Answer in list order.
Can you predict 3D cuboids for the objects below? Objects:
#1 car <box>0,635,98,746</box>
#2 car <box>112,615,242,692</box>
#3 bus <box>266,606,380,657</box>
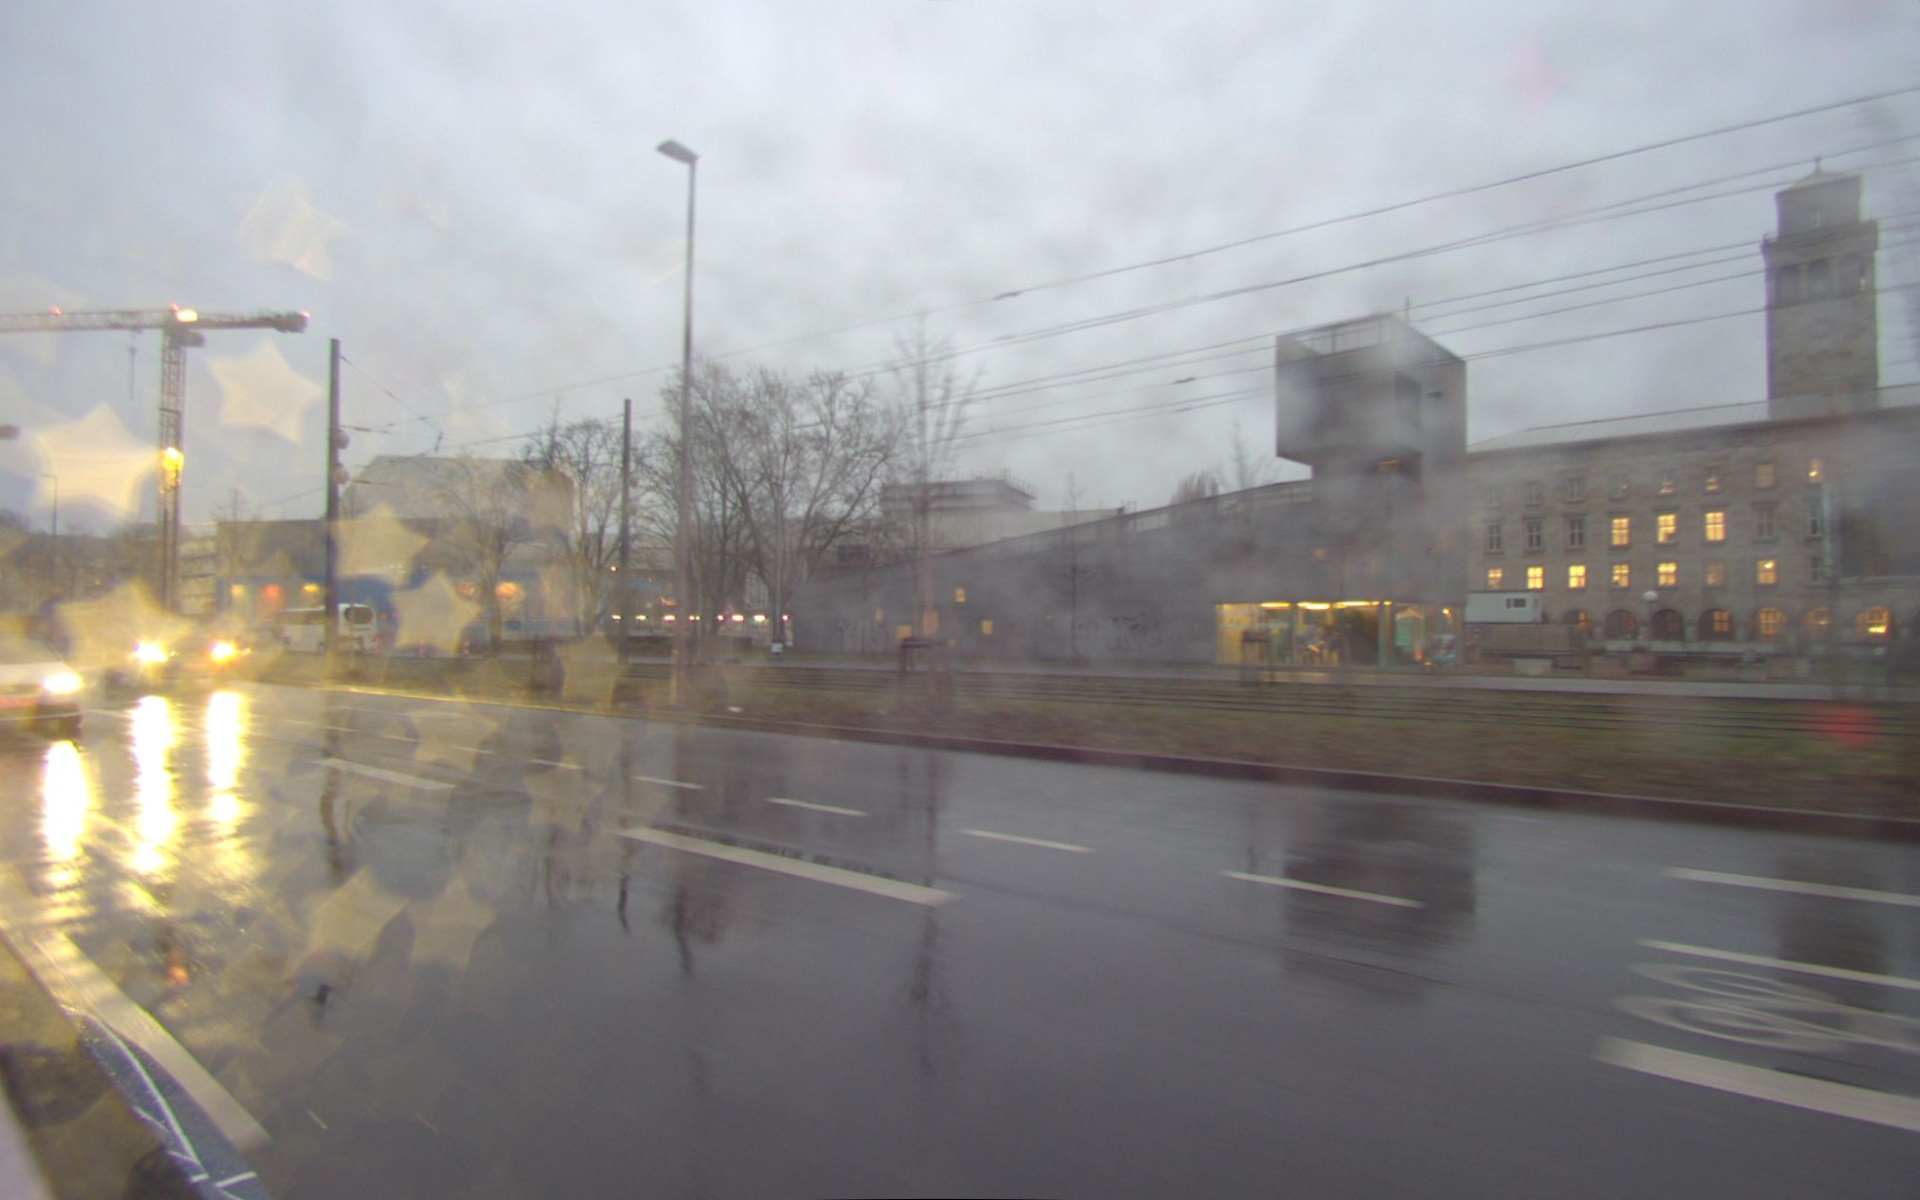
[{"bbox_3d":[-14.476,1.280,15.077,4.125,1.486,1.756,-2,-3,39],"label":"car"},{"bbox_3d":[-19.571,1.289,25.230,4.609,1.756,1.685,-2,-3,41],"label":"car"},{"bbox_3d":[-47.835,2.385,75.749,12.279,3.605,2.782,-2,-3,36],"label":"bus"}]
